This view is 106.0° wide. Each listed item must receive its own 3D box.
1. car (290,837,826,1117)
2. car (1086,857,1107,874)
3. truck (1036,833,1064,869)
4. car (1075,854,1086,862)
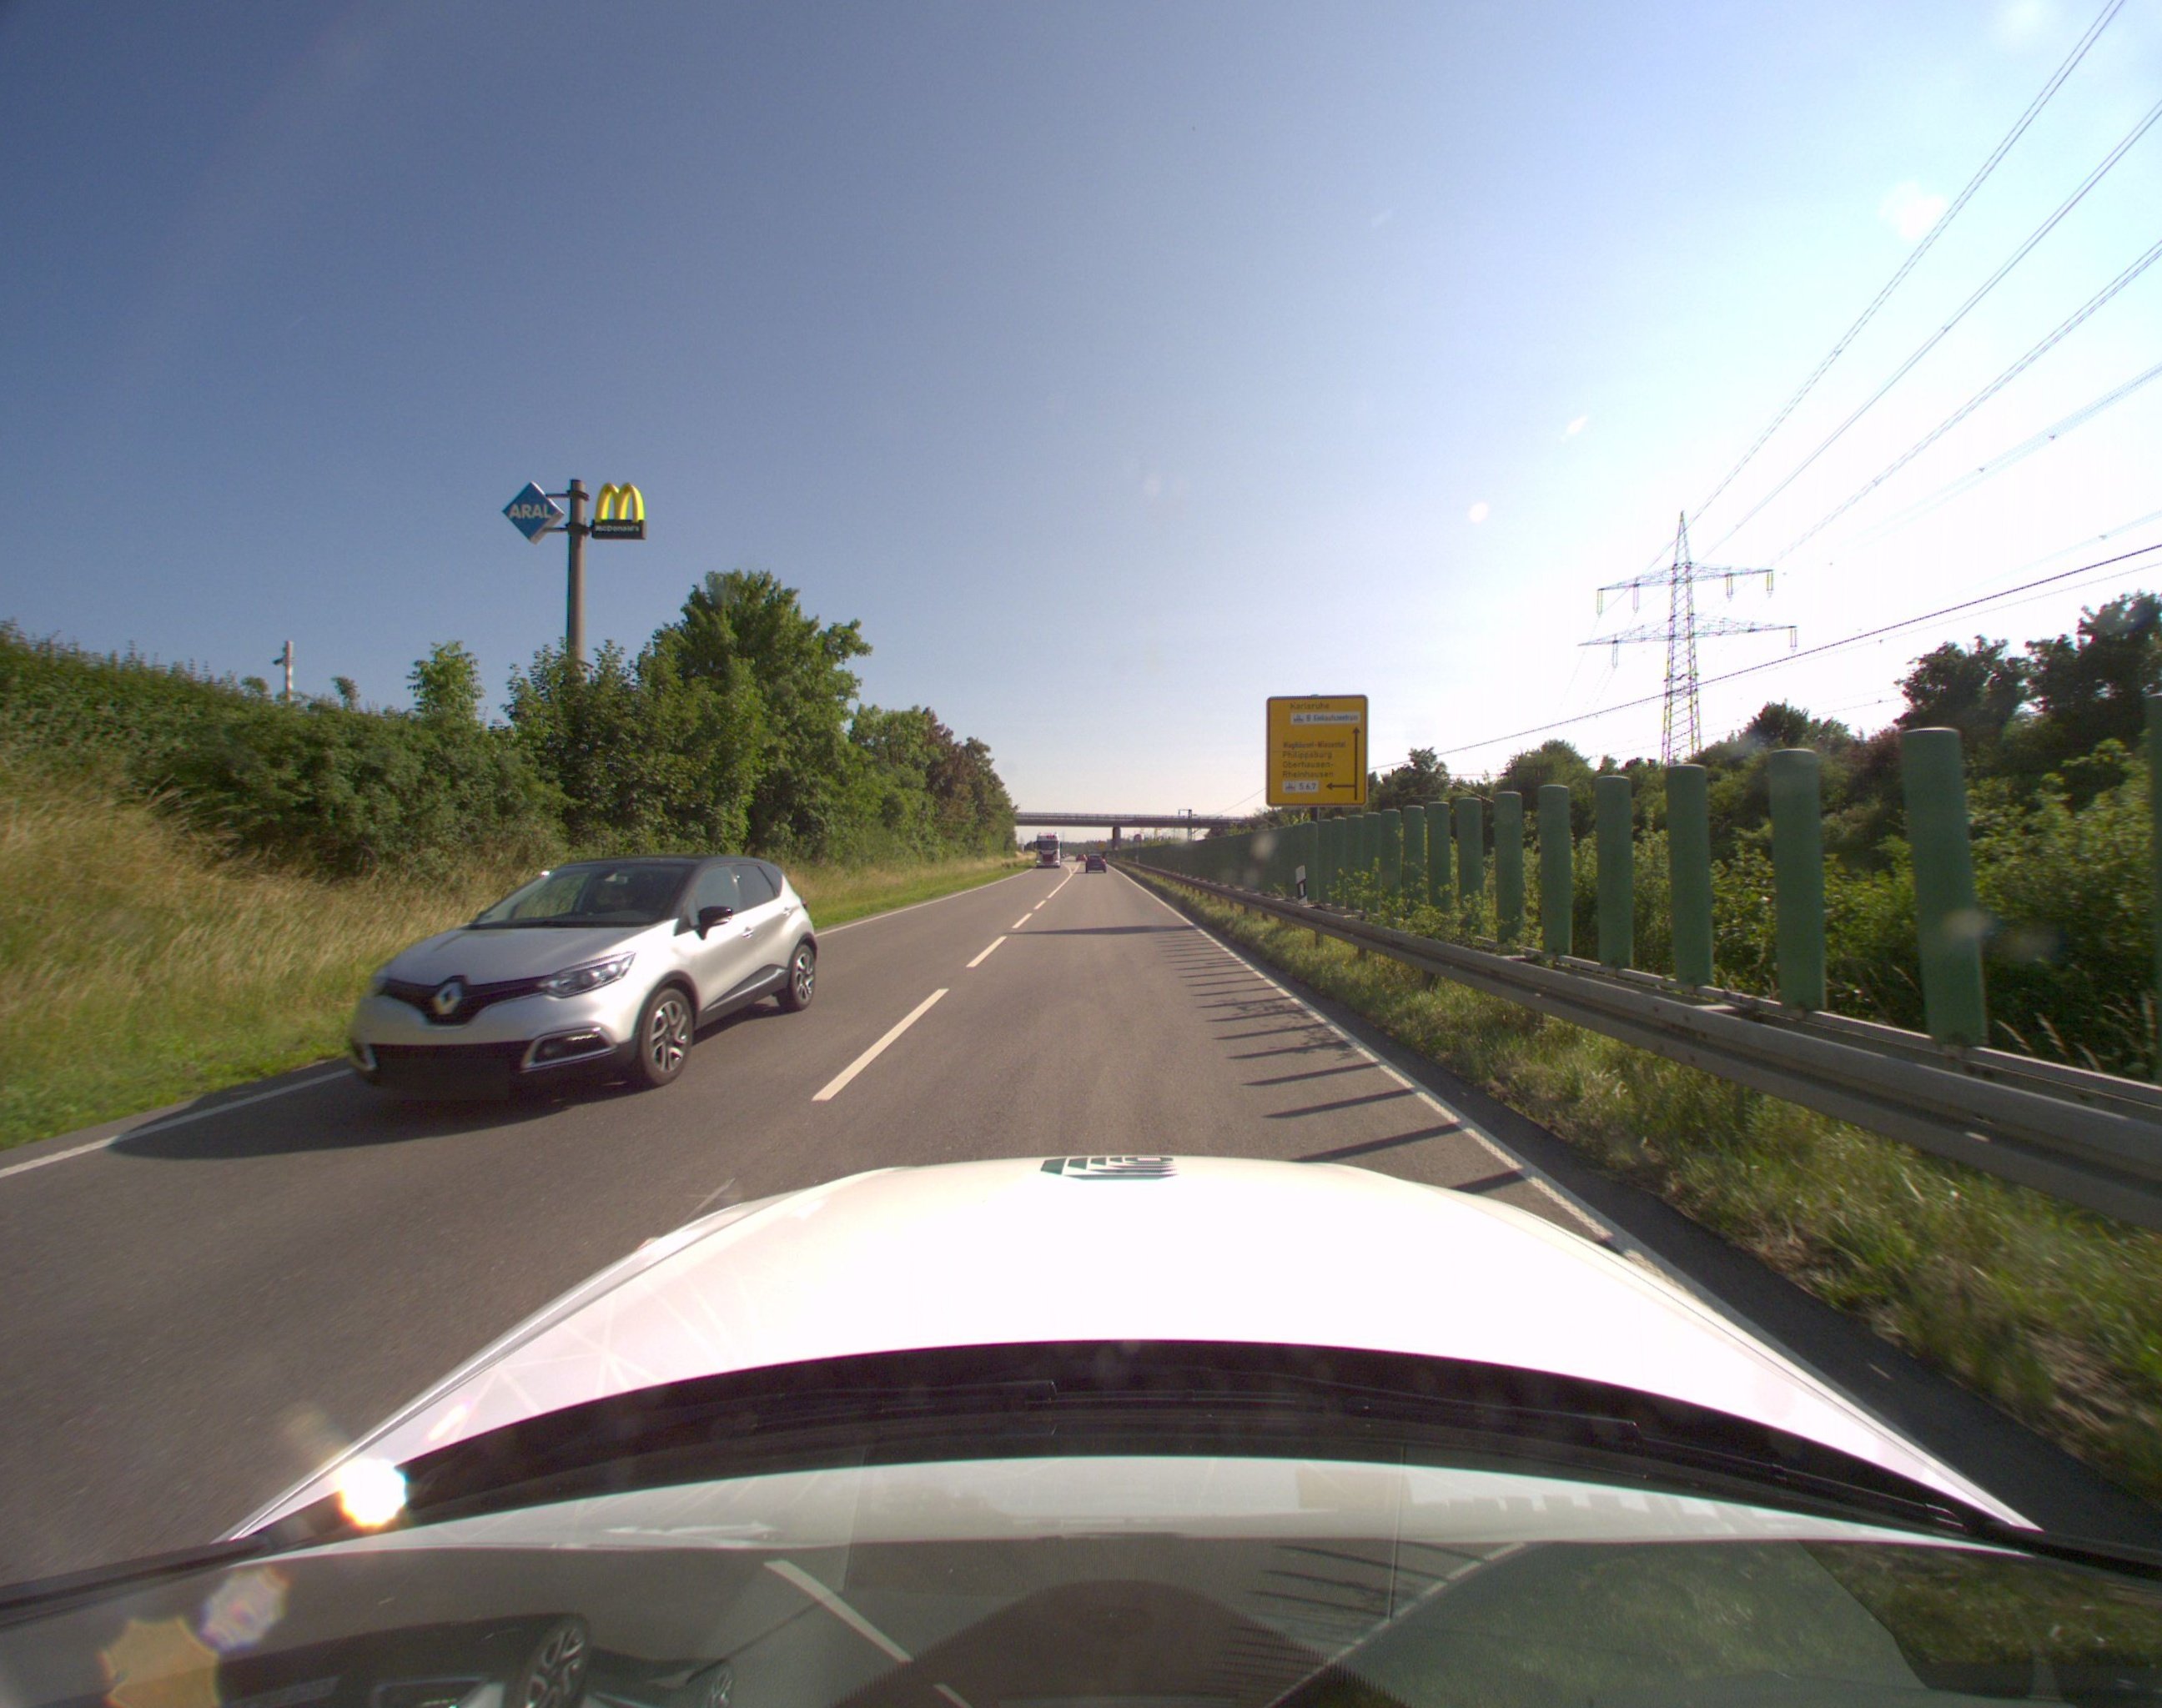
[{"bbox_3d":[-3.642,0.722,6.696,1.790,1.593,3.999,-1,0,0],"label":"car"},{"bbox_3d":[1.195,0.912,64.615,1.658,1.261,3.999,-1,0,0],"label":"car"},{"bbox_3d":[-3.331,-0.331,89.180,2.551,3.688,10.486,-1,0,0],"label":"truck"},{"bbox_3d":[-0.075,0.685,149.211,1.889,1.418,3.999,-1,0,0],"label":"car"}]
